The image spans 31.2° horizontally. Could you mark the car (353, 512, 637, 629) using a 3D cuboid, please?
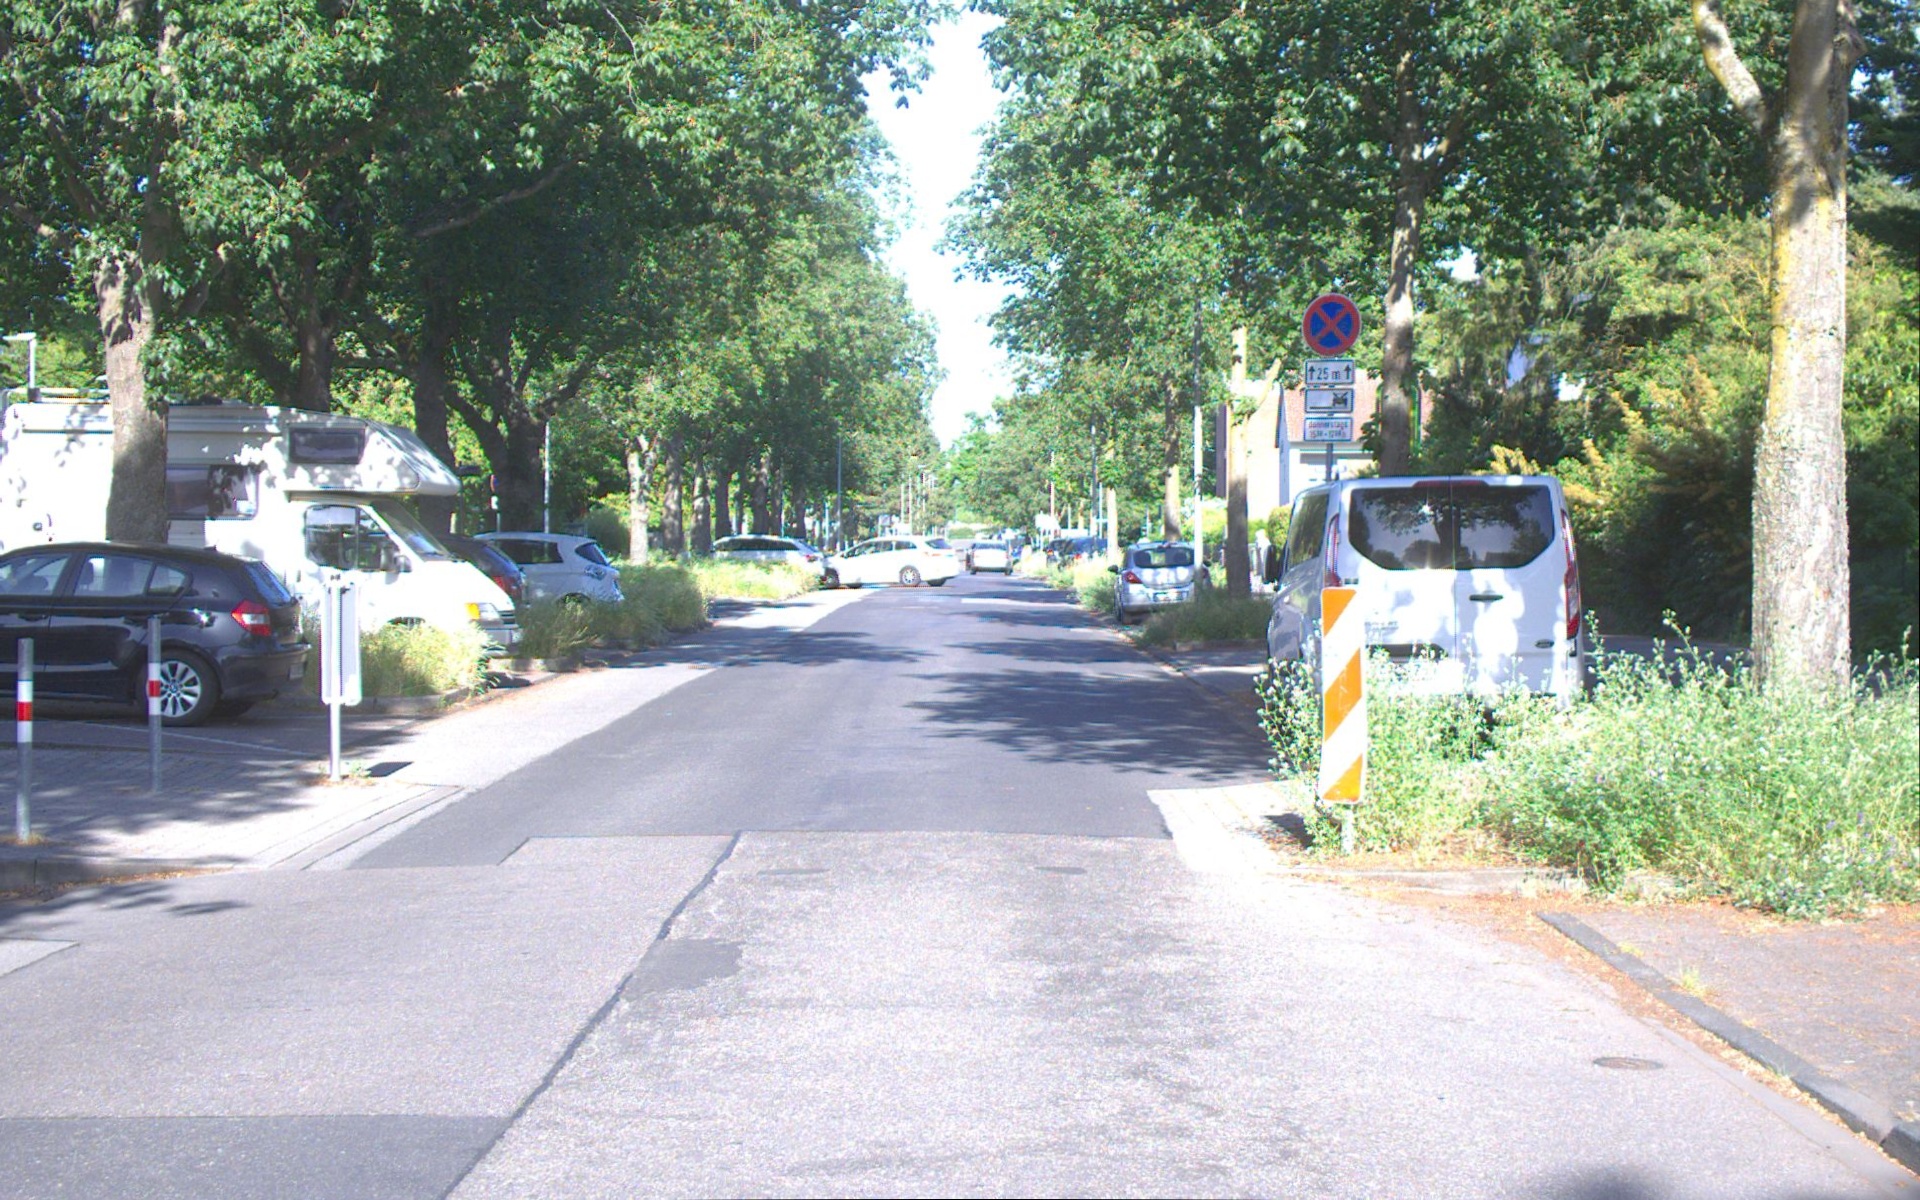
[{"bbox_3d":[-6.943,-0.456,51.590,3.987,1.655,1.967,1,1,0],"label":"car"}]

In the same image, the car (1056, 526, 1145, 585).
[{"bbox_3d":[4.199,-1.352,103.293,1.993,1.616,4.382,3,1,-6],"label":"car"}]

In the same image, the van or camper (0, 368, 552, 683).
[{"bbox_3d":[-7.248,-0.767,34.852,5.776,2.795,2.000,3,1,3],"label":"van or camper"}]

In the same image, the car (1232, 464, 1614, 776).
[{"bbox_3d":[3.358,0.103,26.002,1.993,2.007,5.197,3,1,-1],"label":"car"}]

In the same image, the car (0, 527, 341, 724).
[{"bbox_3d":[-7.243,0.157,28.045,3.987,1.445,1.639,3,0,4],"label":"car"}]

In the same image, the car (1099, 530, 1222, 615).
[{"bbox_3d":[3.734,-0.502,63.482,1.994,1.505,3.999,0,0,7],"label":"car"}]

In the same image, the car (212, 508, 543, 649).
[{"bbox_3d":[-7.675,-0.292,45.578,3.987,1.583,2.000,3,1,0],"label":"car"}]

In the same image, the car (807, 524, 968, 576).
[{"bbox_3d":[-2.098,-1.445,99.433,4.217,1.450,1.997,1,1,26],"label":"car"}]

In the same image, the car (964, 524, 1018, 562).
[{"bbox_3d":[1.302,-2.433,147.942,1.993,1.503,3.659,3,1,-3],"label":"car"}]

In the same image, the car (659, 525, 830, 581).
[{"bbox_3d":[-6.107,-1.332,97.847,4.671,1.498,2.000,1,1,2],"label":"car"}]

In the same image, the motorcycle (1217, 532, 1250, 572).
[{"bbox_3d":[8.421,-1.485,105.995,0.818,1.223,2.352,-1,1,0],"label":"motorcycle"}]
